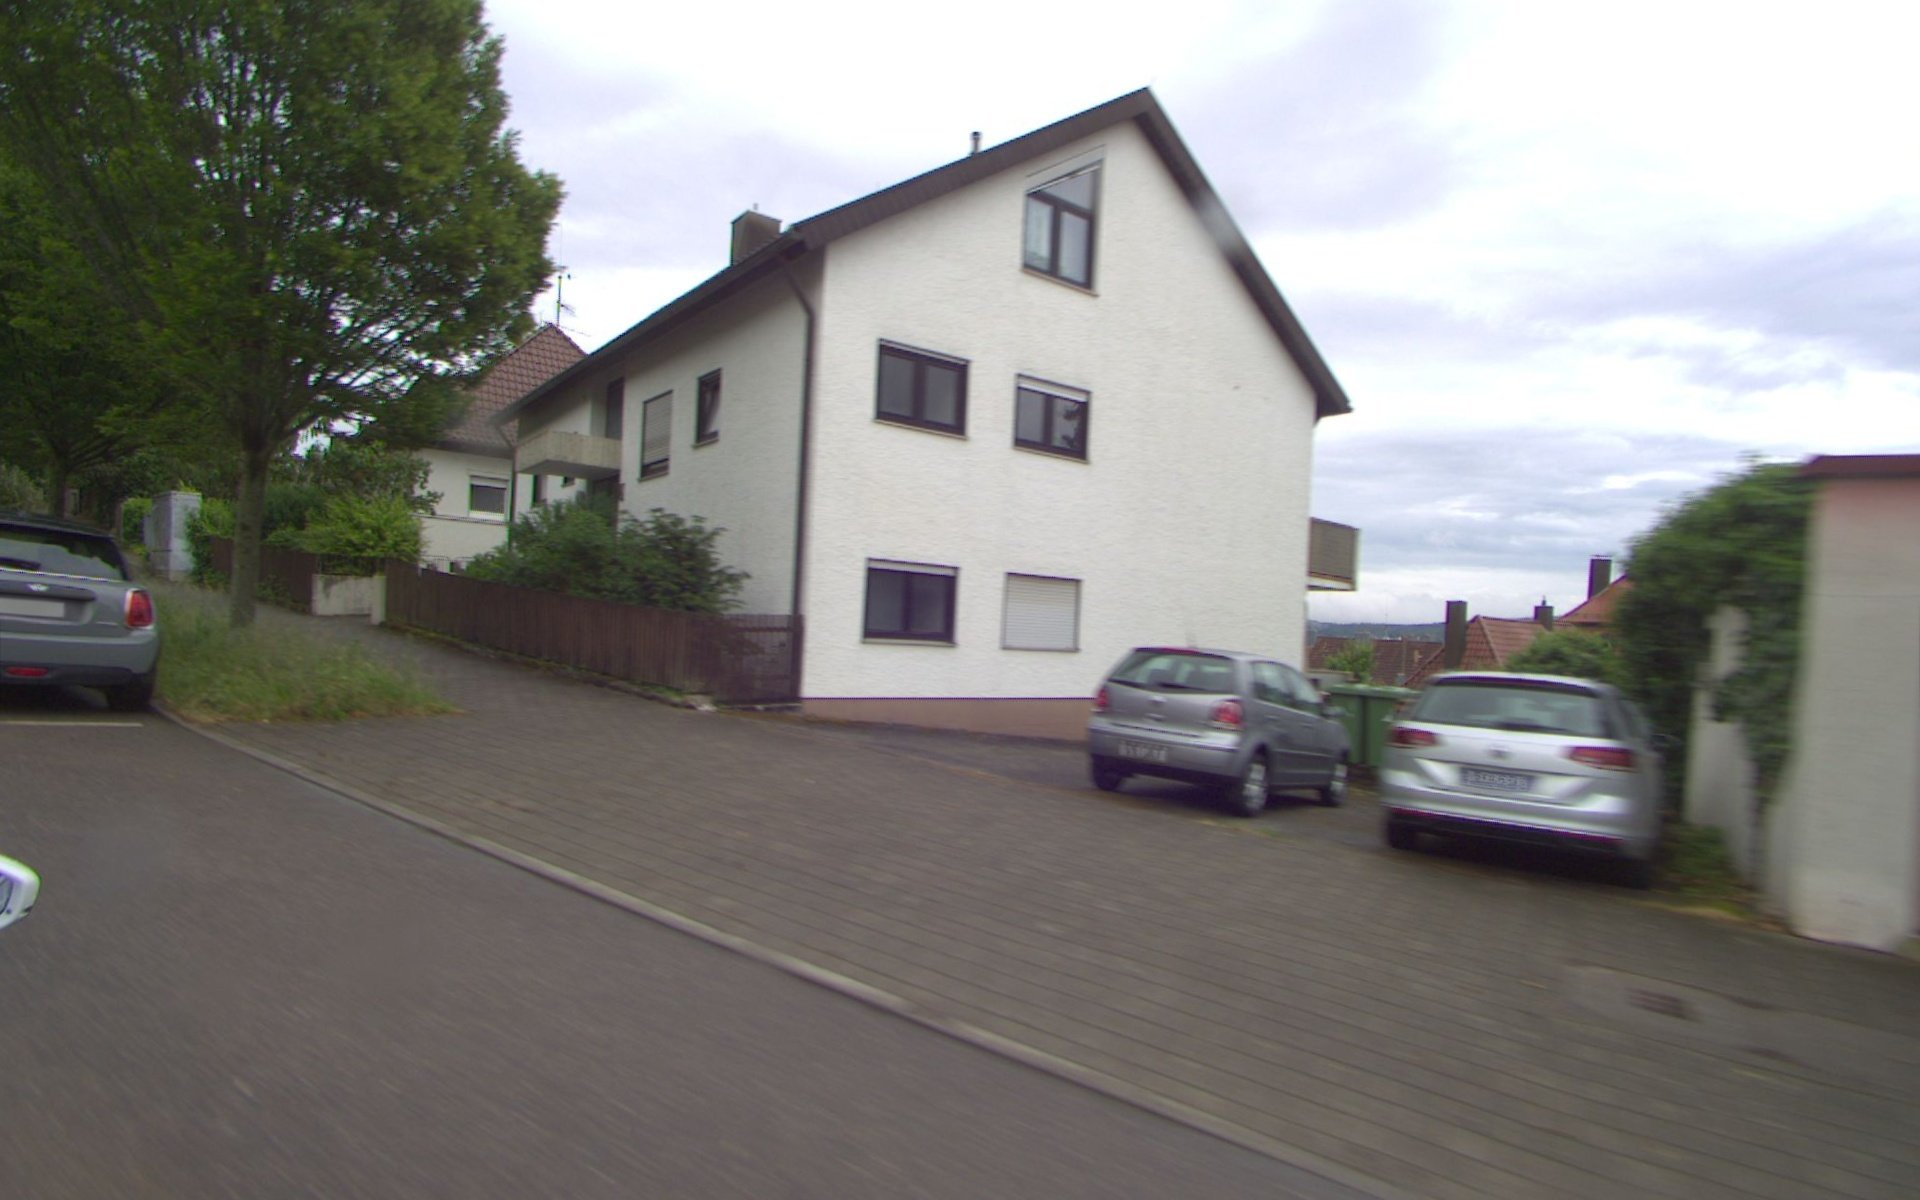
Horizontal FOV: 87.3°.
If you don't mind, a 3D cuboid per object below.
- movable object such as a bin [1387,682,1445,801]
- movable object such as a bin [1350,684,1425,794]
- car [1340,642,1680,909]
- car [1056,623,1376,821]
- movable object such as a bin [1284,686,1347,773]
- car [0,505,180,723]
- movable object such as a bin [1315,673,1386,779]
[{"bbox_3d":[5.886,1.819,12.986,0.443,1.455,0.391,6,1,-40],"label":"movable object such as a bin"},{"bbox_3d":[5.732,1.851,13.496,0.617,1.368,0.587,6,1,-40],"label":"movable object such as a bin"},{"bbox_3d":[4.817,1.349,8.445,1.906,1.481,4.307,4,-4,36],"label":"car"},{"bbox_3d":[2.756,1.254,10.231,1.752,1.481,3.685,5,-4,37],"label":"car"},{"bbox_3d":[5.060,1.837,14.312,0.617,1.158,0.477,6,1,-40],"label":"movable object such as a bin"},{"bbox_3d":[-8.040,-0.050,8.146,3.653,1.488,1.670,6,-2,36],"label":"car"},{"bbox_3d":[5.405,1.732,13.920,0.617,1.365,0.552,6,1,-40],"label":"movable object such as a bin"}]
